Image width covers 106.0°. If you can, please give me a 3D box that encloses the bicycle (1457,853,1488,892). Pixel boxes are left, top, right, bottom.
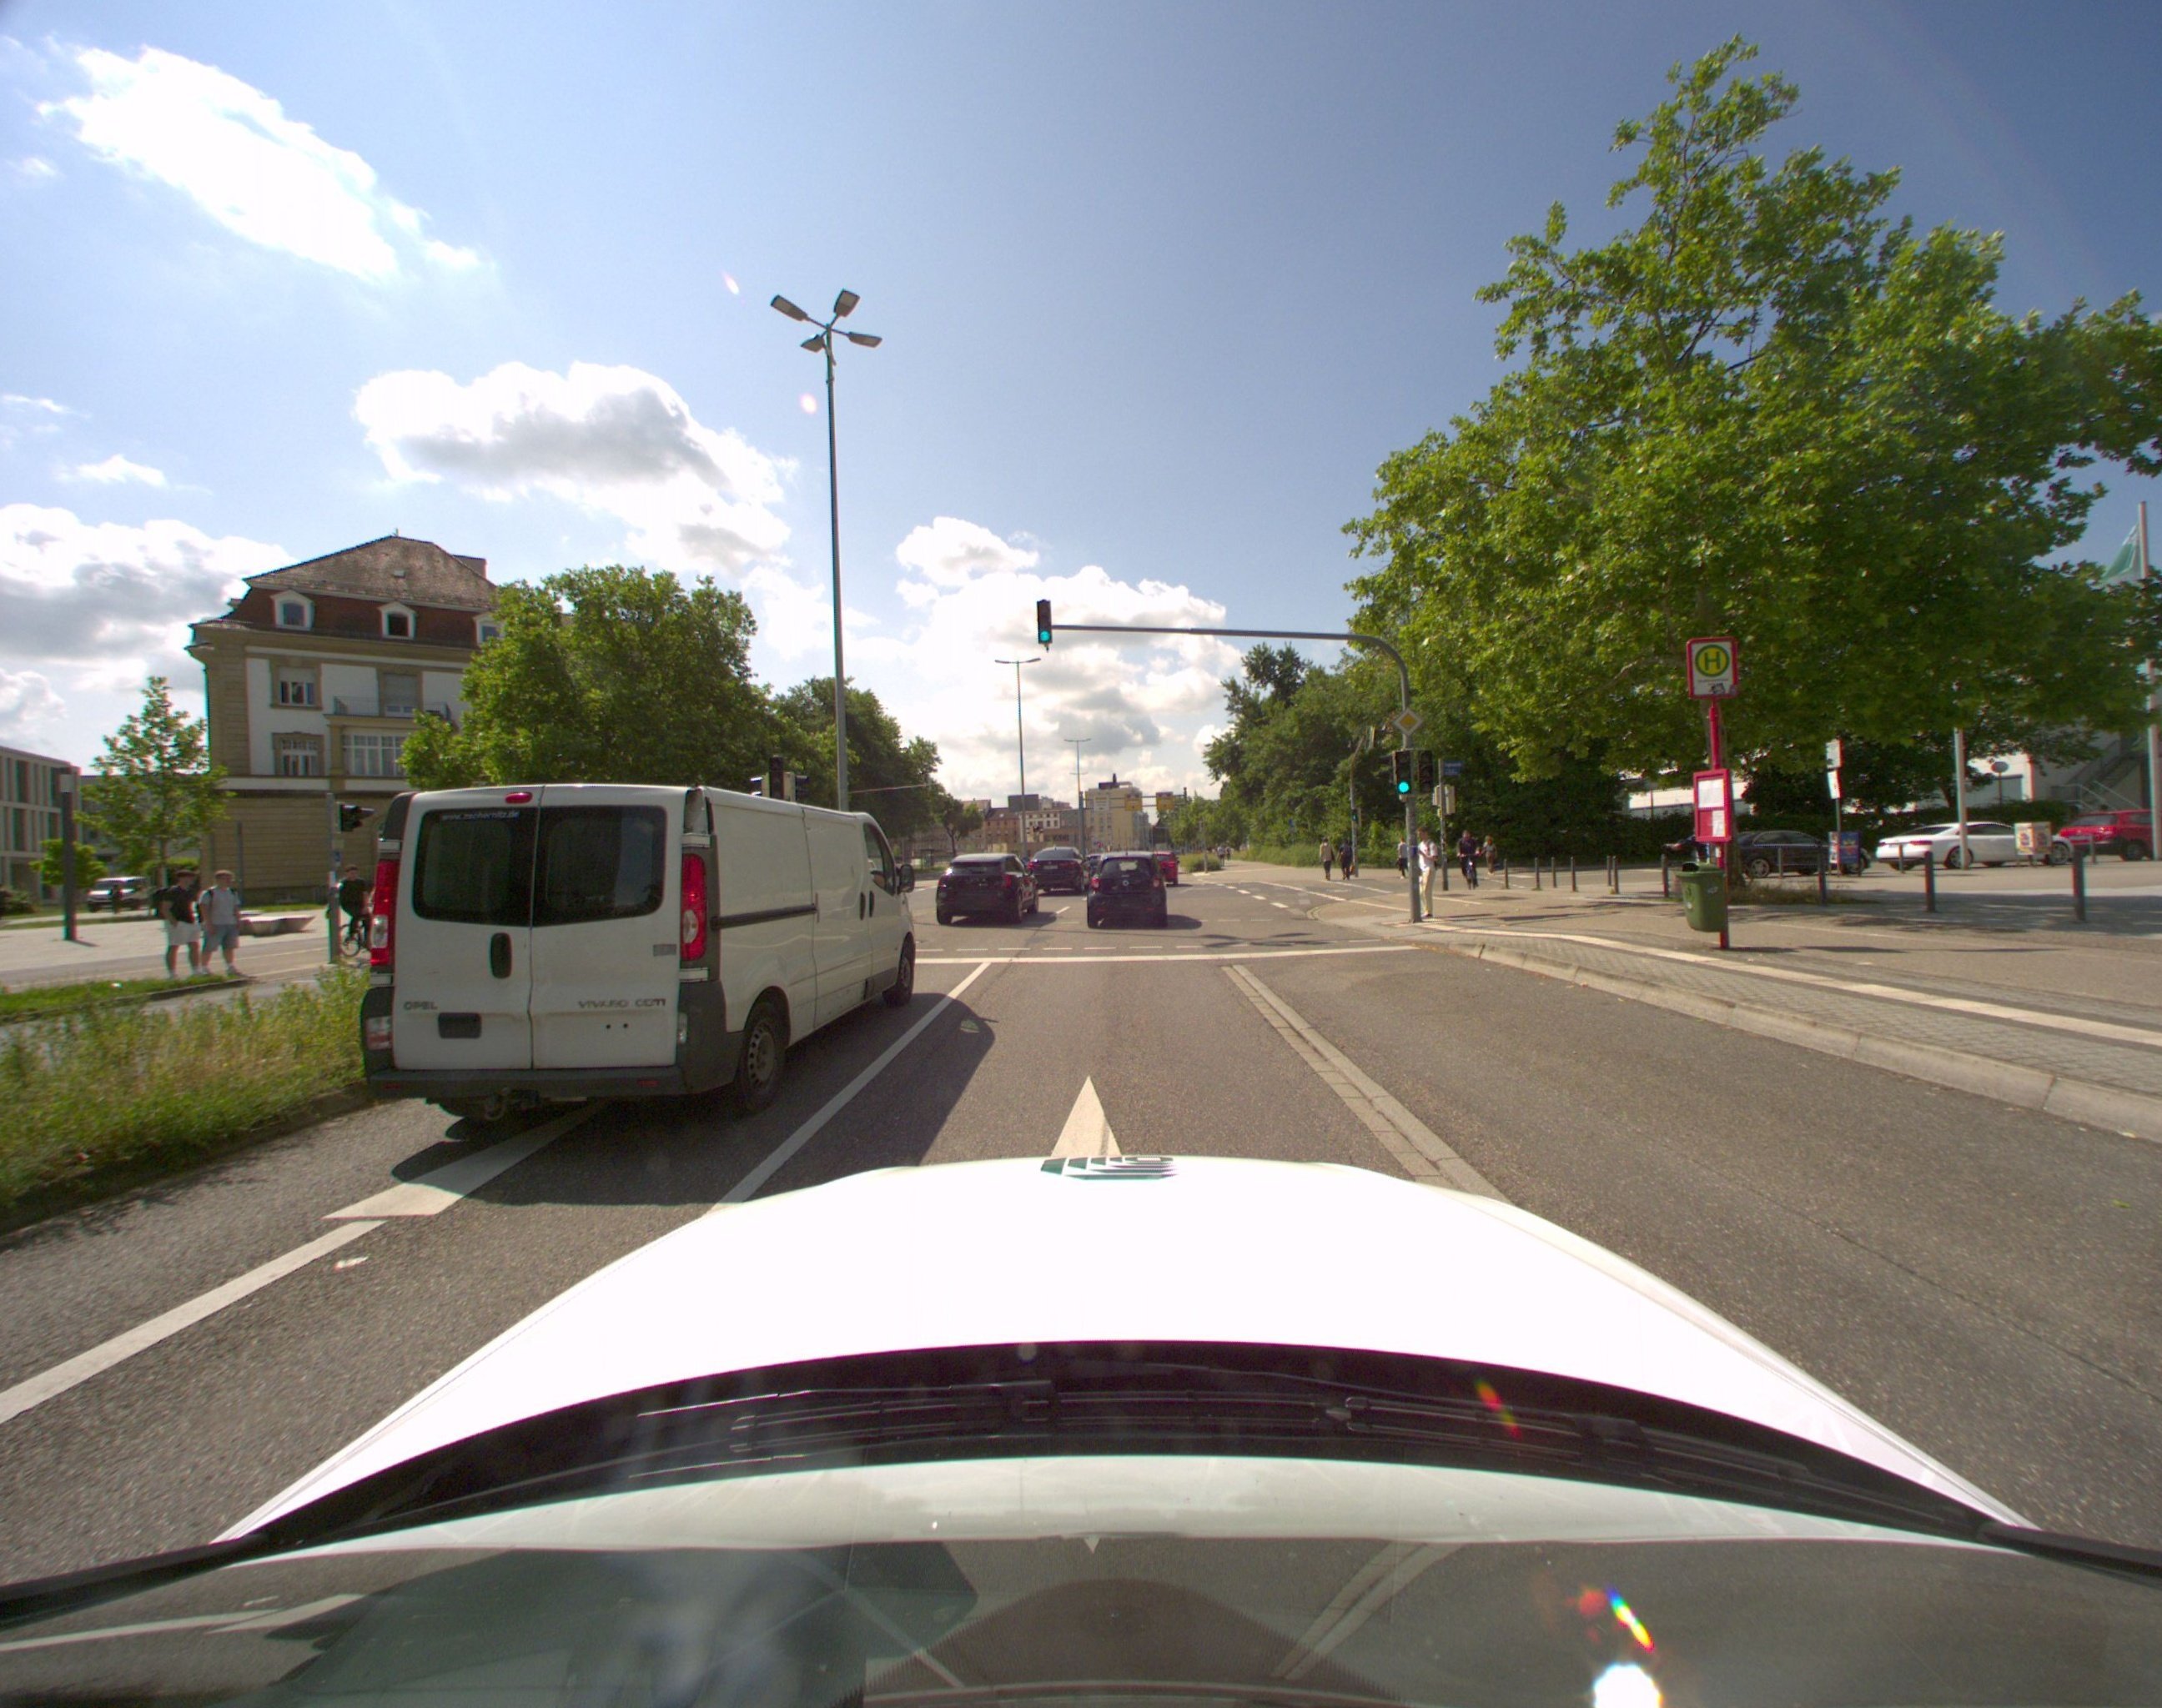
[{"bbox_3d":[11.846,0.547,24.647,0.808,1.072,1.902,-1,1,26],"label":"bicycle"}]

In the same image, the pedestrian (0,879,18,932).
[{"bbox_3d":[-34.590,1.657,25.376,1.312,1.651,1.305,-2,0,14],"label":"pedestrian"}]

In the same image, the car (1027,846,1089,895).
[{"bbox_3d":[-0.768,0.544,30.025,1.819,1.601,4.398,-1,1,4],"label":"car"}]

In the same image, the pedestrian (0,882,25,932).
[{"bbox_3d":[-39.619,1.941,29.848,0.833,1.790,0.870,-2,0,22],"label":"pedestrian"}]

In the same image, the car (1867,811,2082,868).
[{"bbox_3d":[26.534,-0.394,24.293,4.409,1.400,1.724,-3,-3,0],"label":"car"}]

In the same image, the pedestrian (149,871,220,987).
[{"bbox_3d":[-14.805,1.217,13.464,0.479,1.842,0.630,-1,0,-13],"label":"pedestrian"}]

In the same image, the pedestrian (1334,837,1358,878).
[{"bbox_3d":[11.164,0.136,34.339,0.790,1.704,1.186,-2,1,12],"label":"pedestrian"}]

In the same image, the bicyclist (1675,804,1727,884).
[{"bbox_3d":[14.660,-0.225,19.258,0.664,1.845,0.754,-1,0,-29],"label":"bicyclist"}]

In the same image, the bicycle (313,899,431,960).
[{"bbox_3d":[-14.473,1.528,16.663,1.668,1.124,0.692,-1,0,-14],"label":"bicycle"}]

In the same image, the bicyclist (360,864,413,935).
[{"bbox_3d":[-15.807,1.020,18.554,0.658,1.538,0.780,-2,0,-23],"label":"bicyclist"}]

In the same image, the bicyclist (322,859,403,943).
[{"bbox_3d":[-14.638,0.938,16.615,0.997,1.615,0.654,-2,0,-13],"label":"bicyclist"}]

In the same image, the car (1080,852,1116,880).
[{"bbox_3d":[0.918,0.592,42.309,1.604,1.325,3.521,-2,0,4],"label":"car"}]

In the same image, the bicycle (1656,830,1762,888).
[{"bbox_3d":[14.720,0.110,19.145,0.664,1.296,1.857,-1,0,-28],"label":"bicycle"}]

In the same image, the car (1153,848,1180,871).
[{"bbox_3d":[5.469,0.334,52.481,1.604,1.411,3.521,-1,0,4],"label":"car"}]

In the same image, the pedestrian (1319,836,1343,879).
[{"bbox_3d":[10.162,0.142,33.174,0.790,1.704,1.186,-2,1,12],"label":"pedestrian"}]

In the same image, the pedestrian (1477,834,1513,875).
[{"bbox_3d":[17.237,0.002,33.949,0.854,1.626,1.017,-4,2,-9],"label":"pedestrian"}]

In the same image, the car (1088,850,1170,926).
[{"bbox_3d":[1.072,0.674,17.930,1.604,1.485,3.521,-1,0,4],"label":"car"}]

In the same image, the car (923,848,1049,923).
[{"bbox_3d":[-2.089,0.652,19.507,2.007,1.530,4.894,-1,0,5],"label":"car"}]

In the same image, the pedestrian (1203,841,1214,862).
[{"bbox_3d":[12.348,-0.261,78.718,0.835,1.969,0.861,-2,0,2],"label":"pedestrian"}]

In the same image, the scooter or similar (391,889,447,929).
[{"bbox_3d":[-19.287,1.591,23.746,1.153,1.066,0.399,-2,0,-27],"label":"scooter or similar"}]

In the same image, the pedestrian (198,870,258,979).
[{"bbox_3d":[-14.897,1.219,14.239,0.413,1.842,0.574,-1,0,-4],"label":"pedestrian"}]

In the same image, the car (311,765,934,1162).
[{"bbox_3d":[-2.797,0.545,6.721,1.998,1.955,5.197,-2,0,2],"label":"car"}]

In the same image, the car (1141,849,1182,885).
[{"bbox_3d":[3.366,0.506,34.361,1.604,1.411,3.521,-1,0,4],"label":"car"}]

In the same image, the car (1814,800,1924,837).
[{"bbox_3d":[47.180,-2.050,48.959,1.985,1.986,4.941,-2,0,3],"label":"car"}]

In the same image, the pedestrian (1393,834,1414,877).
[{"bbox_3d":[13.891,0.040,35.090,0.666,1.820,0.706,-2,1,12],"label":"pedestrian"}]

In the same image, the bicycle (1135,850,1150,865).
[{"bbox_3d":[8.667,0.520,115.471,1.986,2.013,4.002,-1,0,2],"label":"bicycle"}]

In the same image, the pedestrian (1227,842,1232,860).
[{"bbox_3d":[16.469,-0.326,90.437,0.500,1.890,0.561,-1,0,1],"label":"pedestrian"}]

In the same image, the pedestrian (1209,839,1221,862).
[{"bbox_3d":[11.458,-0.288,69.606,0.835,1.868,1.020,-2,0,2],"label":"pedestrian"}]

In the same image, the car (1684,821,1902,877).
[{"bbox_3d":[21.175,-0.130,24.358,4.915,1.400,1.724,-3,-2,0],"label":"car"}]

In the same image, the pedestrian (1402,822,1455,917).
[{"bbox_3d":[6.820,0.305,16.005,0.598,1.800,0.604,-4,0,-34],"label":"pedestrian"}]

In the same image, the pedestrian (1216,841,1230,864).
[{"bbox_3d":[10.517,-0.109,60.429,0.847,1.700,0.932,-4,-1,4],"label":"pedestrian"}]

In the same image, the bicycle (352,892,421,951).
[{"bbox_3d":[-15.845,1.507,18.631,0.696,1.124,1.658,-2,3,-23],"label":"bicycle"}]

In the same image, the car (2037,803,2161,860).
[{"bbox_3d":[31.514,-0.701,24.203,4.118,1.497,1.620,-3,-2,1],"label":"car"}]

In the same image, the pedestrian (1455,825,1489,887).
[{"bbox_3d":[11.885,0.050,24.737,0.846,1.820,1.183,-2,-1,26],"label":"pedestrian"}]
